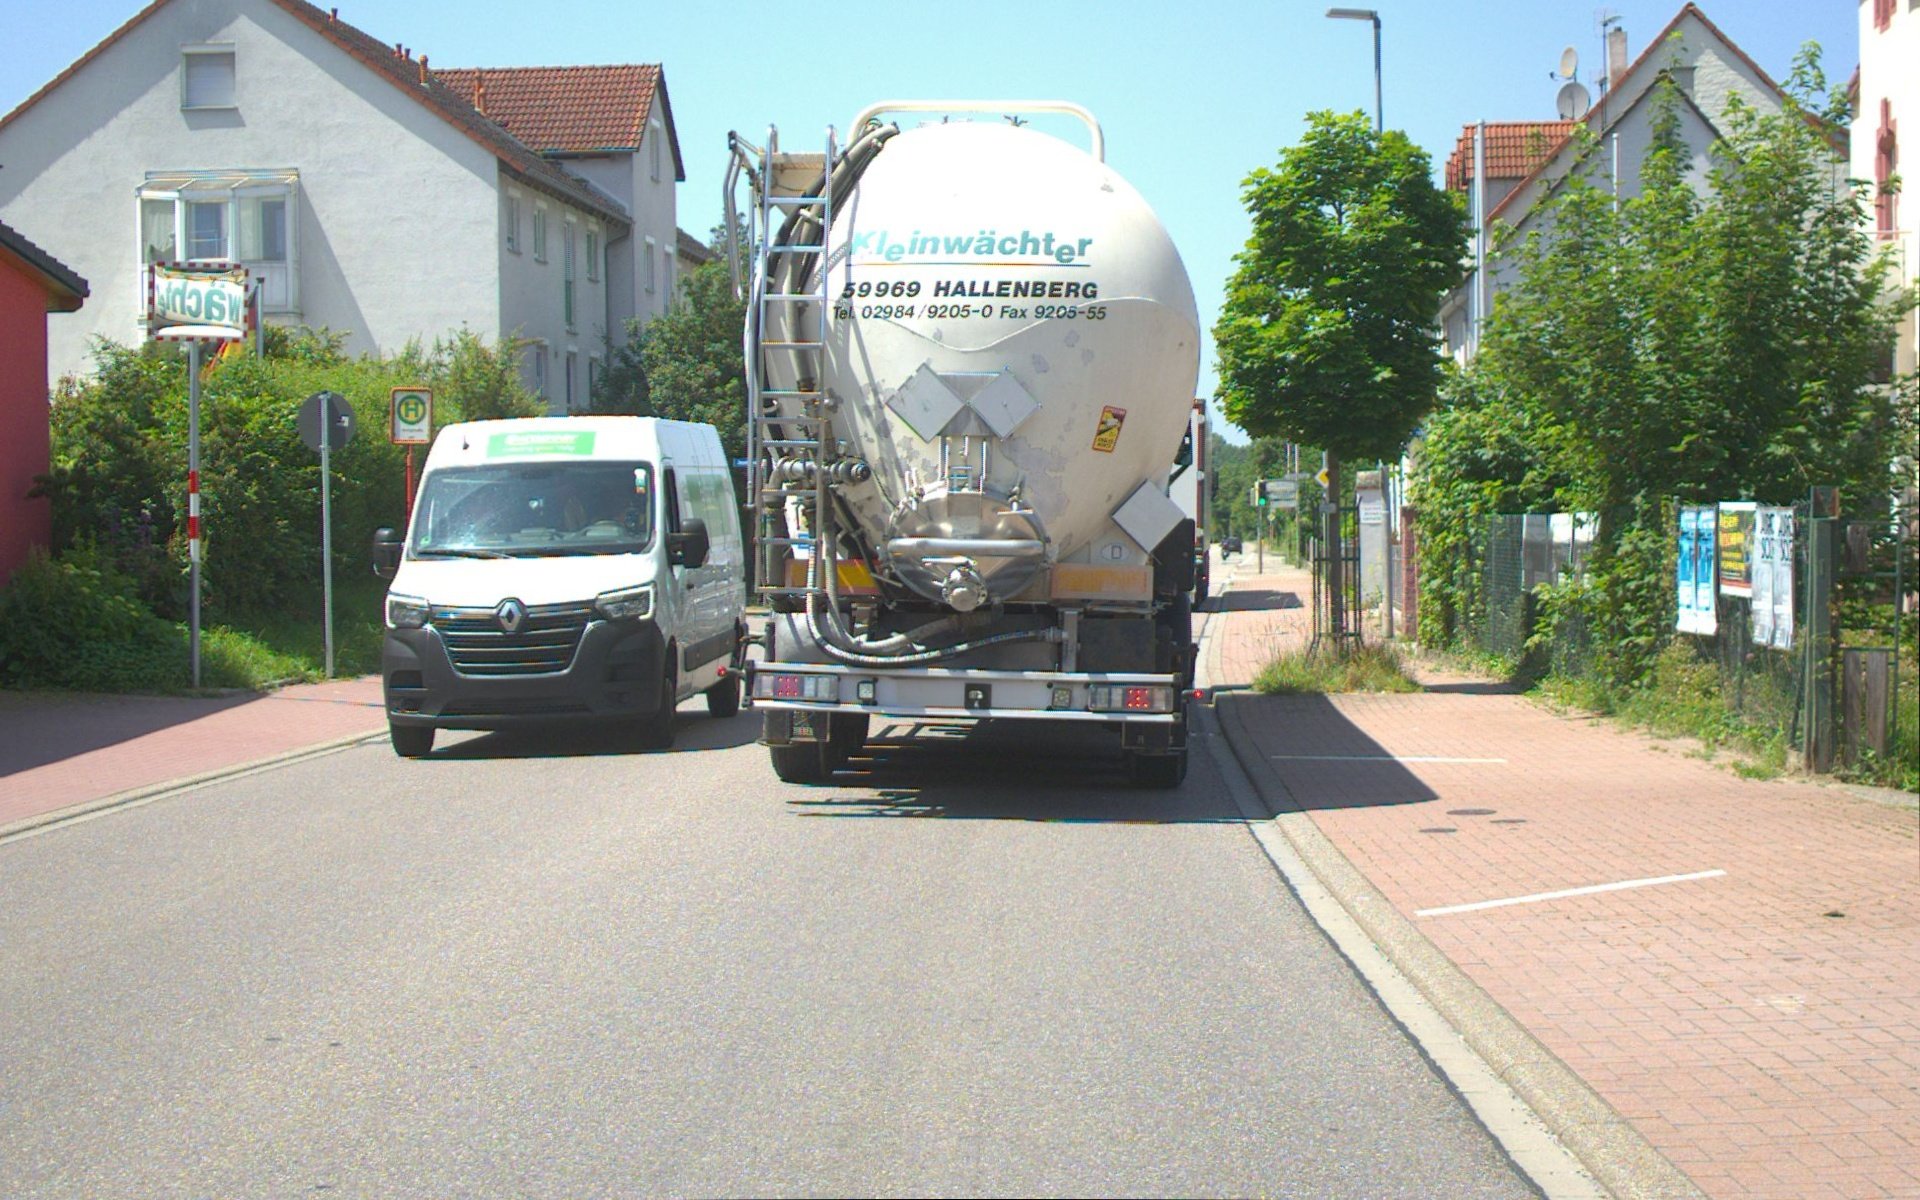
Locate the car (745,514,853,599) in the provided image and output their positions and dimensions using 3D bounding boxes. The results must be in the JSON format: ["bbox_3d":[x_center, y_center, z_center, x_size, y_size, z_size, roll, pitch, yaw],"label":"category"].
[{"bbox_3d":[-3.268,-0.919,70.564,1.706,1.681,4.525,1,1,4],"label":"car"}]

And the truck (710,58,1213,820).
[{"bbox_3d":[0.132,-0.948,22.867,2.641,4.002,9.561,0,1,2],"label":"truck"}]

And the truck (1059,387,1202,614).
[{"bbox_3d":[3.539,-1.984,69.915,2.641,4.210,12.092,0,1,4],"label":"truck"}]

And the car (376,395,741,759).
[{"bbox_3d":[-2.944,-0.217,26.595,2.029,2.452,6.068,-1,1,0],"label":"car"}]
